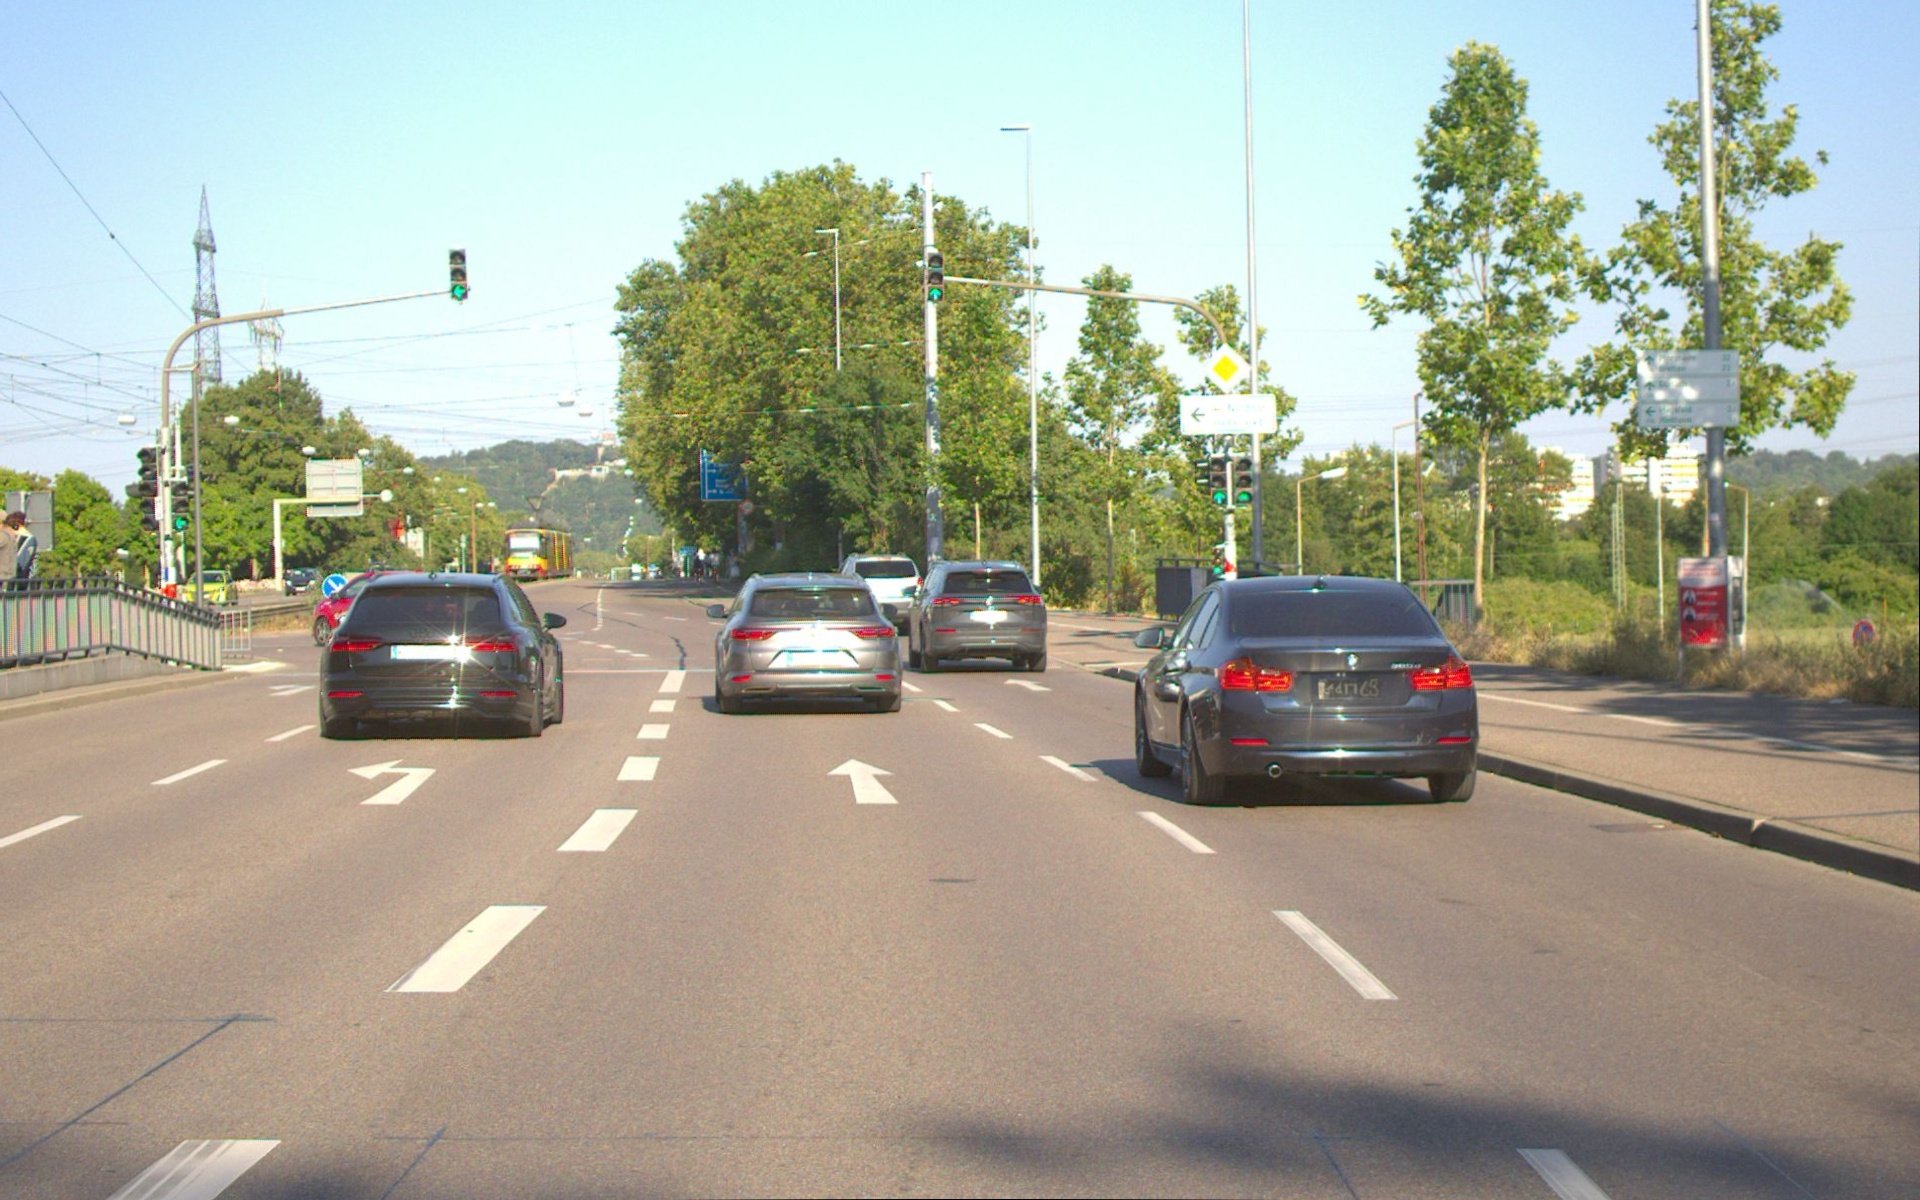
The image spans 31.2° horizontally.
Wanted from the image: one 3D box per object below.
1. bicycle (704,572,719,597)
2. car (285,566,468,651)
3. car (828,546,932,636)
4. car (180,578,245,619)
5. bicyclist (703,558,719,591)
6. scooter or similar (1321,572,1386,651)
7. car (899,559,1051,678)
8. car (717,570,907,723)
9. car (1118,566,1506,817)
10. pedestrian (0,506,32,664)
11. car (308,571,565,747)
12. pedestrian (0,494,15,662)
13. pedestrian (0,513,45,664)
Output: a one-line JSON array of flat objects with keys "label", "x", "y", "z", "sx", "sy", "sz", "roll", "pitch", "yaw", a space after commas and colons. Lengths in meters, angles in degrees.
[{"label": "bicycle", "x": -11.430, "y": -0.730, "z": 157.998, "sx": 0.622, "sy": 1.116, "sz": 1.813, "roll": -2, "pitch": 1, "yaw": -5}, {"label": "car", "x": -11.506, "y": 0.175, "z": 67.674, "sx": 1.766, "sy": 1.455, "sz": 3.583, "roll": -4, "pitch": 0, "yaw": -43}, {"label": "car", "x": -1.709, "y": -0.215, "z": 72.569, "sx": 1.883, "sy": 1.789, "sz": 4.001, "roll": 1, "pitch": 1, "yaw": -5}, {"label": "car", "x": -28.770, "y": -0.073, "z": 132.391, "sx": 1.783, "sy": 1.442, "sz": 4.108, "roll": -3, "pitch": 1, "yaw": -4}, {"label": "bicyclist", "x": -11.451, "y": -1.167, "z": 158.045, "sx": 0.685, "sy": 1.503, "sz": 0.891, "roll": -1, "pitch": 1, "yaw": -5}, {"label": "scooter or similar", "x": 6.192, "y": 0.177, "z": 54.167, "sx": 0.523, "sy": 1.226, "sz": 1.267, "roll": -2, "pitch": 1, "yaw": -17}, {"label": "car", "x": 0.178, "y": 0.234, "z": 50.959, "sx": 1.844, "sy": 1.655, "sz": 4.440, "roll": 0, "pitch": 1, "yaw": -5}, {"label": "car", "x": -1.566, "y": 0.440, "z": 36.279, "sx": 1.866, "sy": 1.462, "sz": 4.666, "roll": 0, "pitch": 1, "yaw": -3}, {"label": "car", "x": 2.196, "y": 0.533, "z": 22.697, "sx": 1.866, "sy": 1.462, "sz": 4.587, "roll": -1, "pitch": 0, "yaw": -3}, {"label": "pedestrian", "x": -10.386, "y": -0.169, "z": 37.076, "sx": 0.533, "sy": 1.687, "sz": 0.760, "roll": 1, "pitch": 0, "yaw": -2}, {"label": "car", "x": -4.588, "y": 0.470, "z": 30.650, "sx": 1.915, "sy": 1.453, "sz": 4.092, "roll": 0, "pitch": 0, "yaw": -4}, {"label": "pedestrian", "x": -10.451, "y": -0.237, "z": 36.373, "sx": 0.706, "sy": 1.769, "sz": 0.535, "roll": 1, "pitch": 0, "yaw": 1}, {"label": "pedestrian", "x": -10.485, "y": -0.131, "z": 38.015, "sx": 0.533, "sy": 1.651, "sz": 0.751, "roll": 1, "pitch": 0, "yaw": -2}]
